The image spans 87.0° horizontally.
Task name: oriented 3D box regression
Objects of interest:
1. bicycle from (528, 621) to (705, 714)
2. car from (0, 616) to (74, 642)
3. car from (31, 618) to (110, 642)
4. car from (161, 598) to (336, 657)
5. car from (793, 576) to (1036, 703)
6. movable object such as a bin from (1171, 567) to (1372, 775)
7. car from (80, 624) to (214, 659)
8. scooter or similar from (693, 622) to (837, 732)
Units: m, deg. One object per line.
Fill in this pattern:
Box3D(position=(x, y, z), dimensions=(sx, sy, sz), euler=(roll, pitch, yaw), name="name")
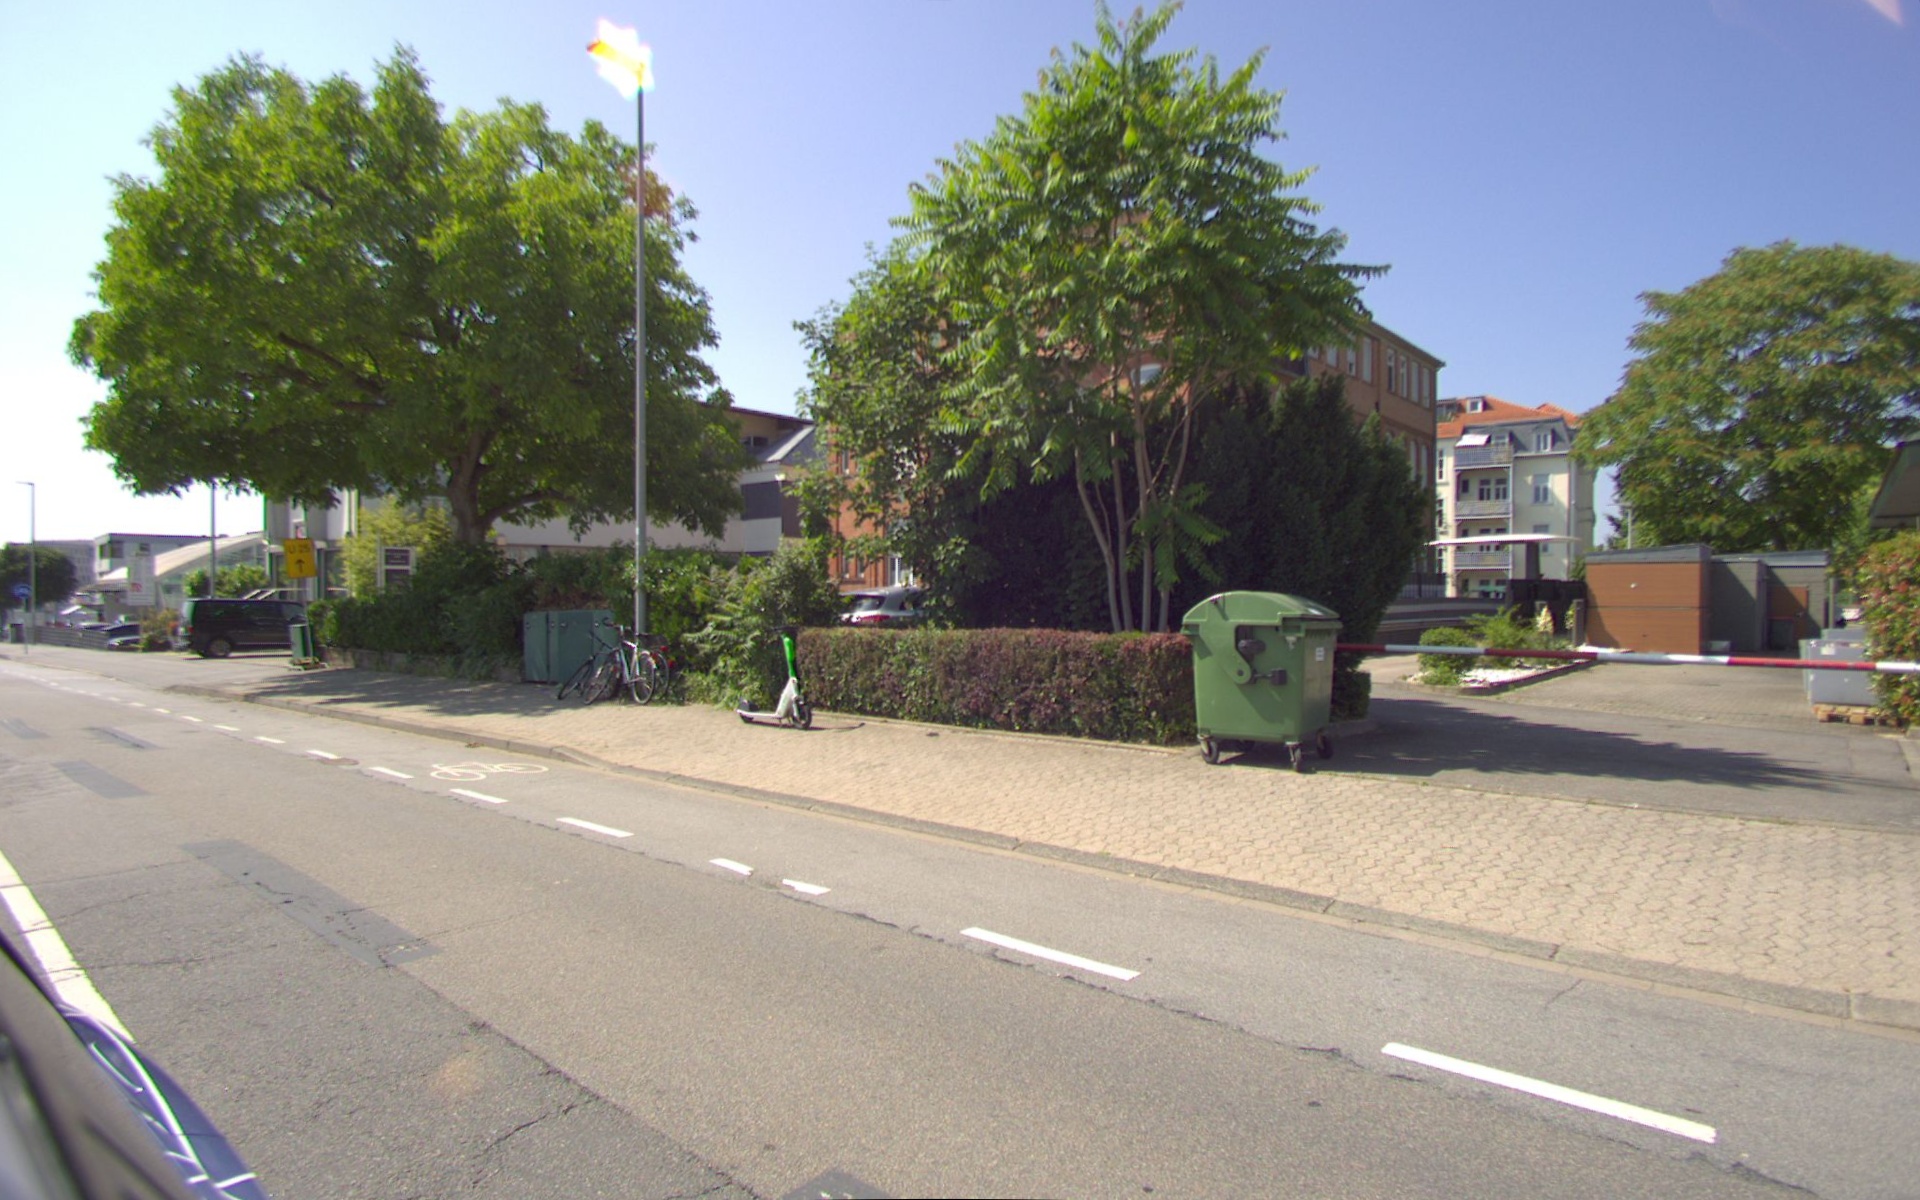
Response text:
Box3D(position=(-4.923, 0.910, 14.385), dimensions=(2.762, 1.126, 1.017), euler=(-1, 3, 39), name="bicycle")
Box3D(position=(-69.969, 2.171, 76.386), dimensions=(1.836, 1.709, 4.572), euler=(-2, 0, 6), name="car")
Box3D(position=(-64.209, 2.149, 73.106), dimensions=(1.839, 1.562, 3.987), euler=(-2, 0, 10), name="car")
Box3D(position=(-24.136, 0.922, 34.457), dimensions=(2.092, 1.880, 4.517), euler=(-2, -2, 42), name="car")
Box3D(position=(-0.666, 0.701, 16.684), dimensions=(3.721, 1.855, 1.787), euler=(5, -4, -45), name="car")
Box3D(position=(2.713, 0.562, 8.741), dimensions=(1.303, 1.602, 1.436), euler=(-1, -1, 33), name="movable object such as a bin")
Box3D(position=(-38.758, 1.926, 48.314), dimensions=(2.046, 1.492, 4.691), euler=(-1, -1, 40), name="car")
Box3D(position=(-2.259, 0.852, 11.645), dimensions=(1.619, 1.136, 0.641), euler=(-1, 2, 35), name="scooter or similar")
